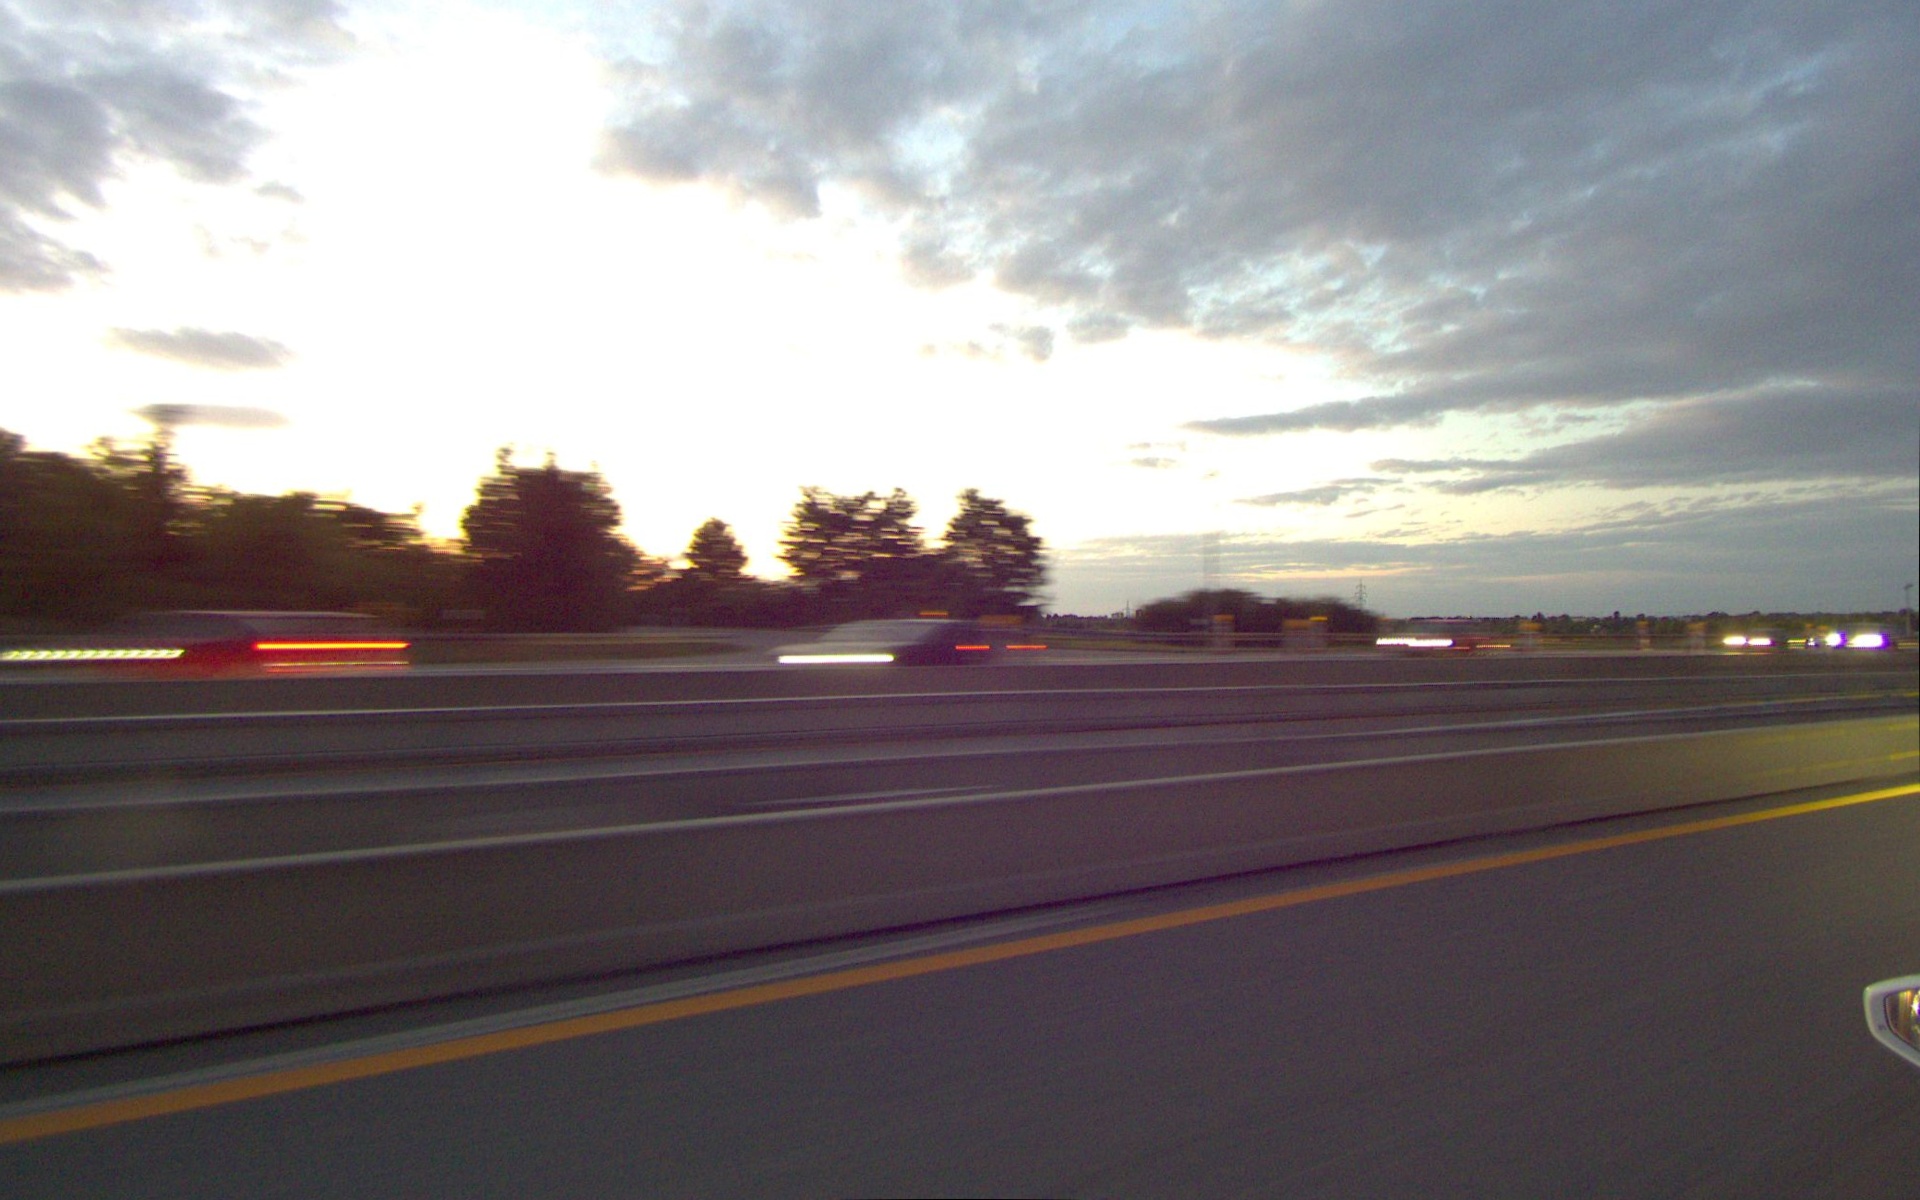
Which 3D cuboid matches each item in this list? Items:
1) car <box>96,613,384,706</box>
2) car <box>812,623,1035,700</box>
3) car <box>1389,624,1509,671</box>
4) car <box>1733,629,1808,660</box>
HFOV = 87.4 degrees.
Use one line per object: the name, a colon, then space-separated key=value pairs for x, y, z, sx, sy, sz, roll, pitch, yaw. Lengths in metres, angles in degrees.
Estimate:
car: x=-12.989 y=1.039 z=18.492 sx=4.086 sy=1.483 sz=1.984 roll=2 pitch=0 yaw=-30
car: x=-0.763 y=1.311 z=22.192 sx=4.634 sy=1.483 sz=1.755 roll=2 pitch=0 yaw=-30
car: x=17.873 y=1.712 z=36.668 sx=4.372 sy=1.569 sz=1.755 roll=2 pitch=0 yaw=-30
car: x=44.259 y=2.398 z=54.833 sx=4.372 sy=1.569 sz=1.755 roll=2 pitch=0 yaw=-30
